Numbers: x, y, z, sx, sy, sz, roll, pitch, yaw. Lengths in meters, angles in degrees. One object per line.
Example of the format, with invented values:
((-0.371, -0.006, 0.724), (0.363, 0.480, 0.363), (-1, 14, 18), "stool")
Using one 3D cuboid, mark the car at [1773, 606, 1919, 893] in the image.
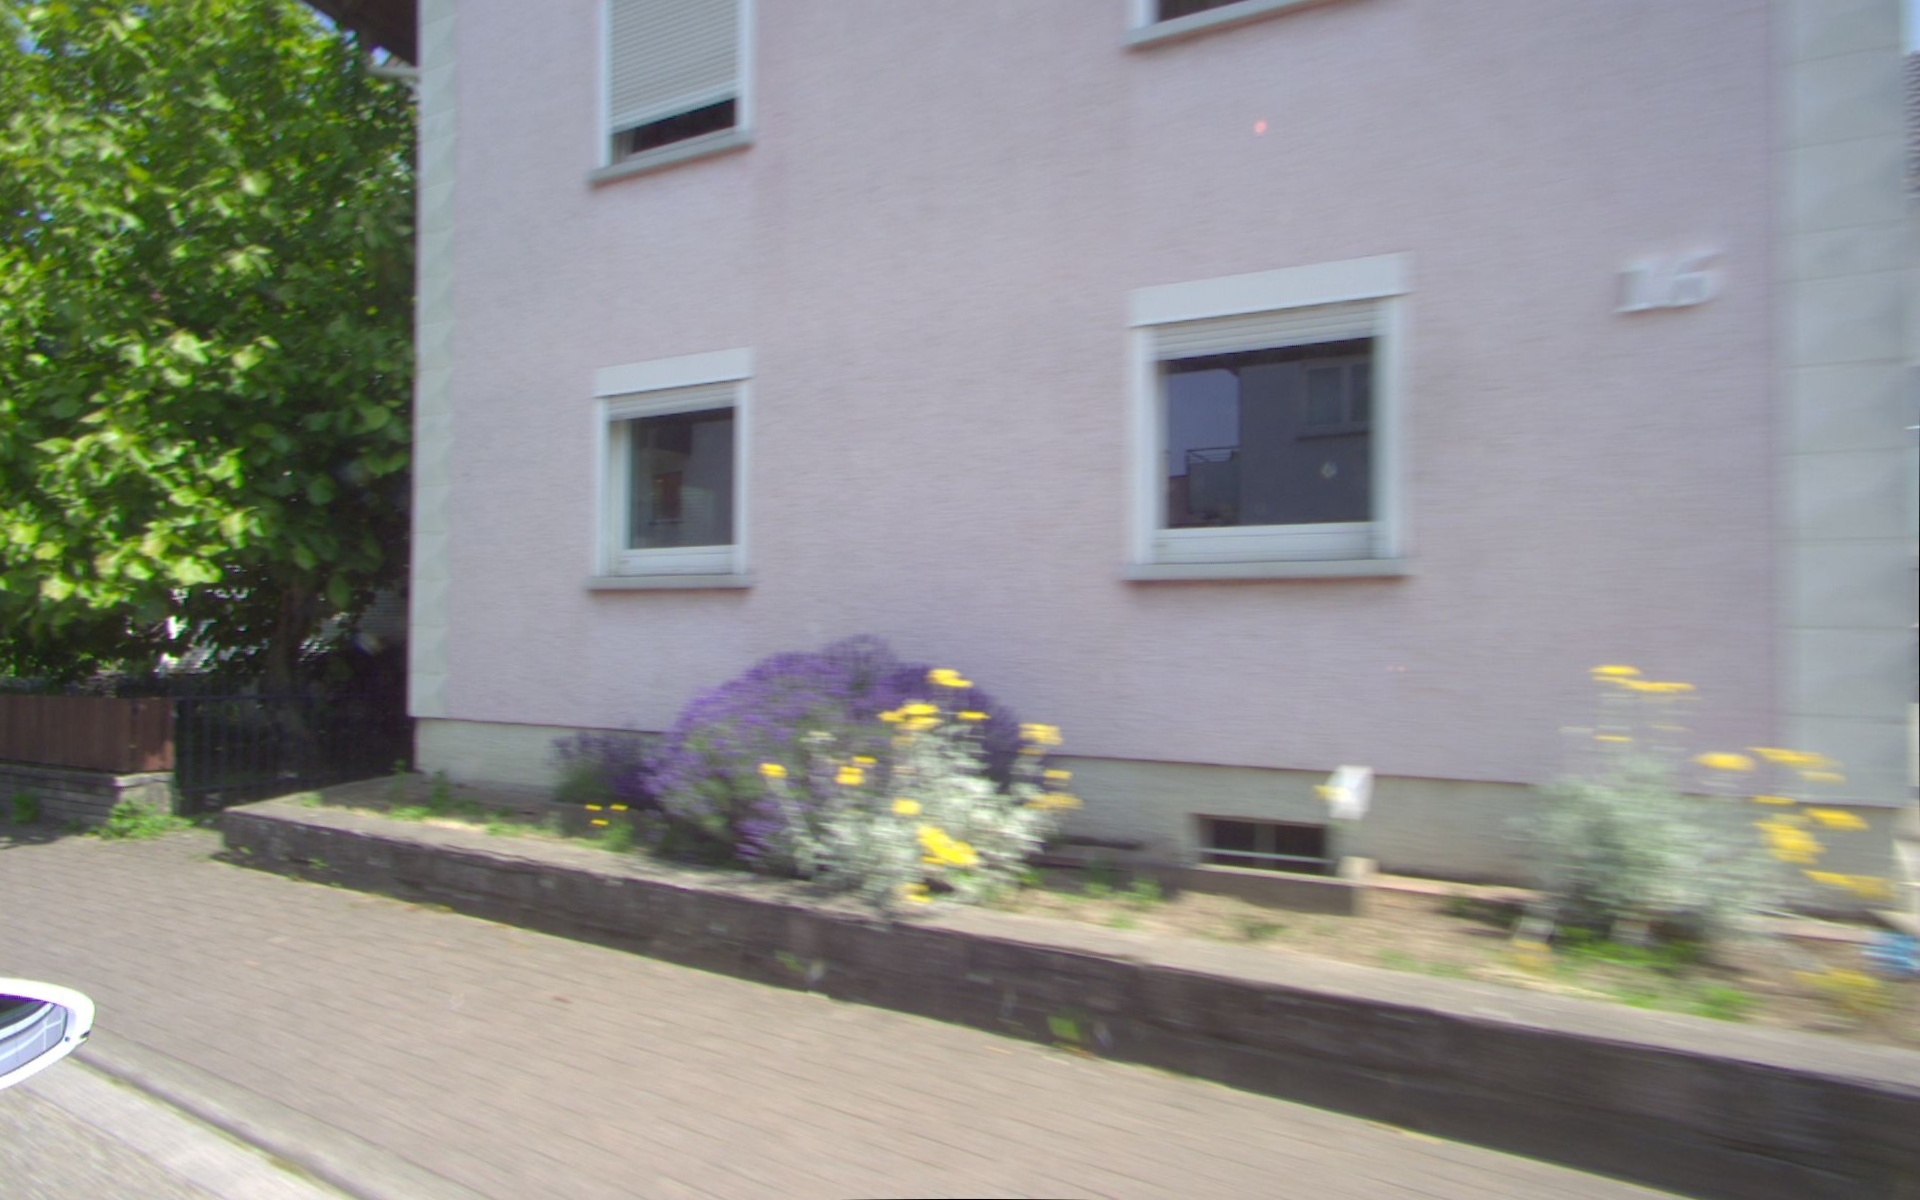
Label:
((5.810, 0.772, 5.060), (1.652, 1.480, 3.750), (0, -1, 23), "car")
